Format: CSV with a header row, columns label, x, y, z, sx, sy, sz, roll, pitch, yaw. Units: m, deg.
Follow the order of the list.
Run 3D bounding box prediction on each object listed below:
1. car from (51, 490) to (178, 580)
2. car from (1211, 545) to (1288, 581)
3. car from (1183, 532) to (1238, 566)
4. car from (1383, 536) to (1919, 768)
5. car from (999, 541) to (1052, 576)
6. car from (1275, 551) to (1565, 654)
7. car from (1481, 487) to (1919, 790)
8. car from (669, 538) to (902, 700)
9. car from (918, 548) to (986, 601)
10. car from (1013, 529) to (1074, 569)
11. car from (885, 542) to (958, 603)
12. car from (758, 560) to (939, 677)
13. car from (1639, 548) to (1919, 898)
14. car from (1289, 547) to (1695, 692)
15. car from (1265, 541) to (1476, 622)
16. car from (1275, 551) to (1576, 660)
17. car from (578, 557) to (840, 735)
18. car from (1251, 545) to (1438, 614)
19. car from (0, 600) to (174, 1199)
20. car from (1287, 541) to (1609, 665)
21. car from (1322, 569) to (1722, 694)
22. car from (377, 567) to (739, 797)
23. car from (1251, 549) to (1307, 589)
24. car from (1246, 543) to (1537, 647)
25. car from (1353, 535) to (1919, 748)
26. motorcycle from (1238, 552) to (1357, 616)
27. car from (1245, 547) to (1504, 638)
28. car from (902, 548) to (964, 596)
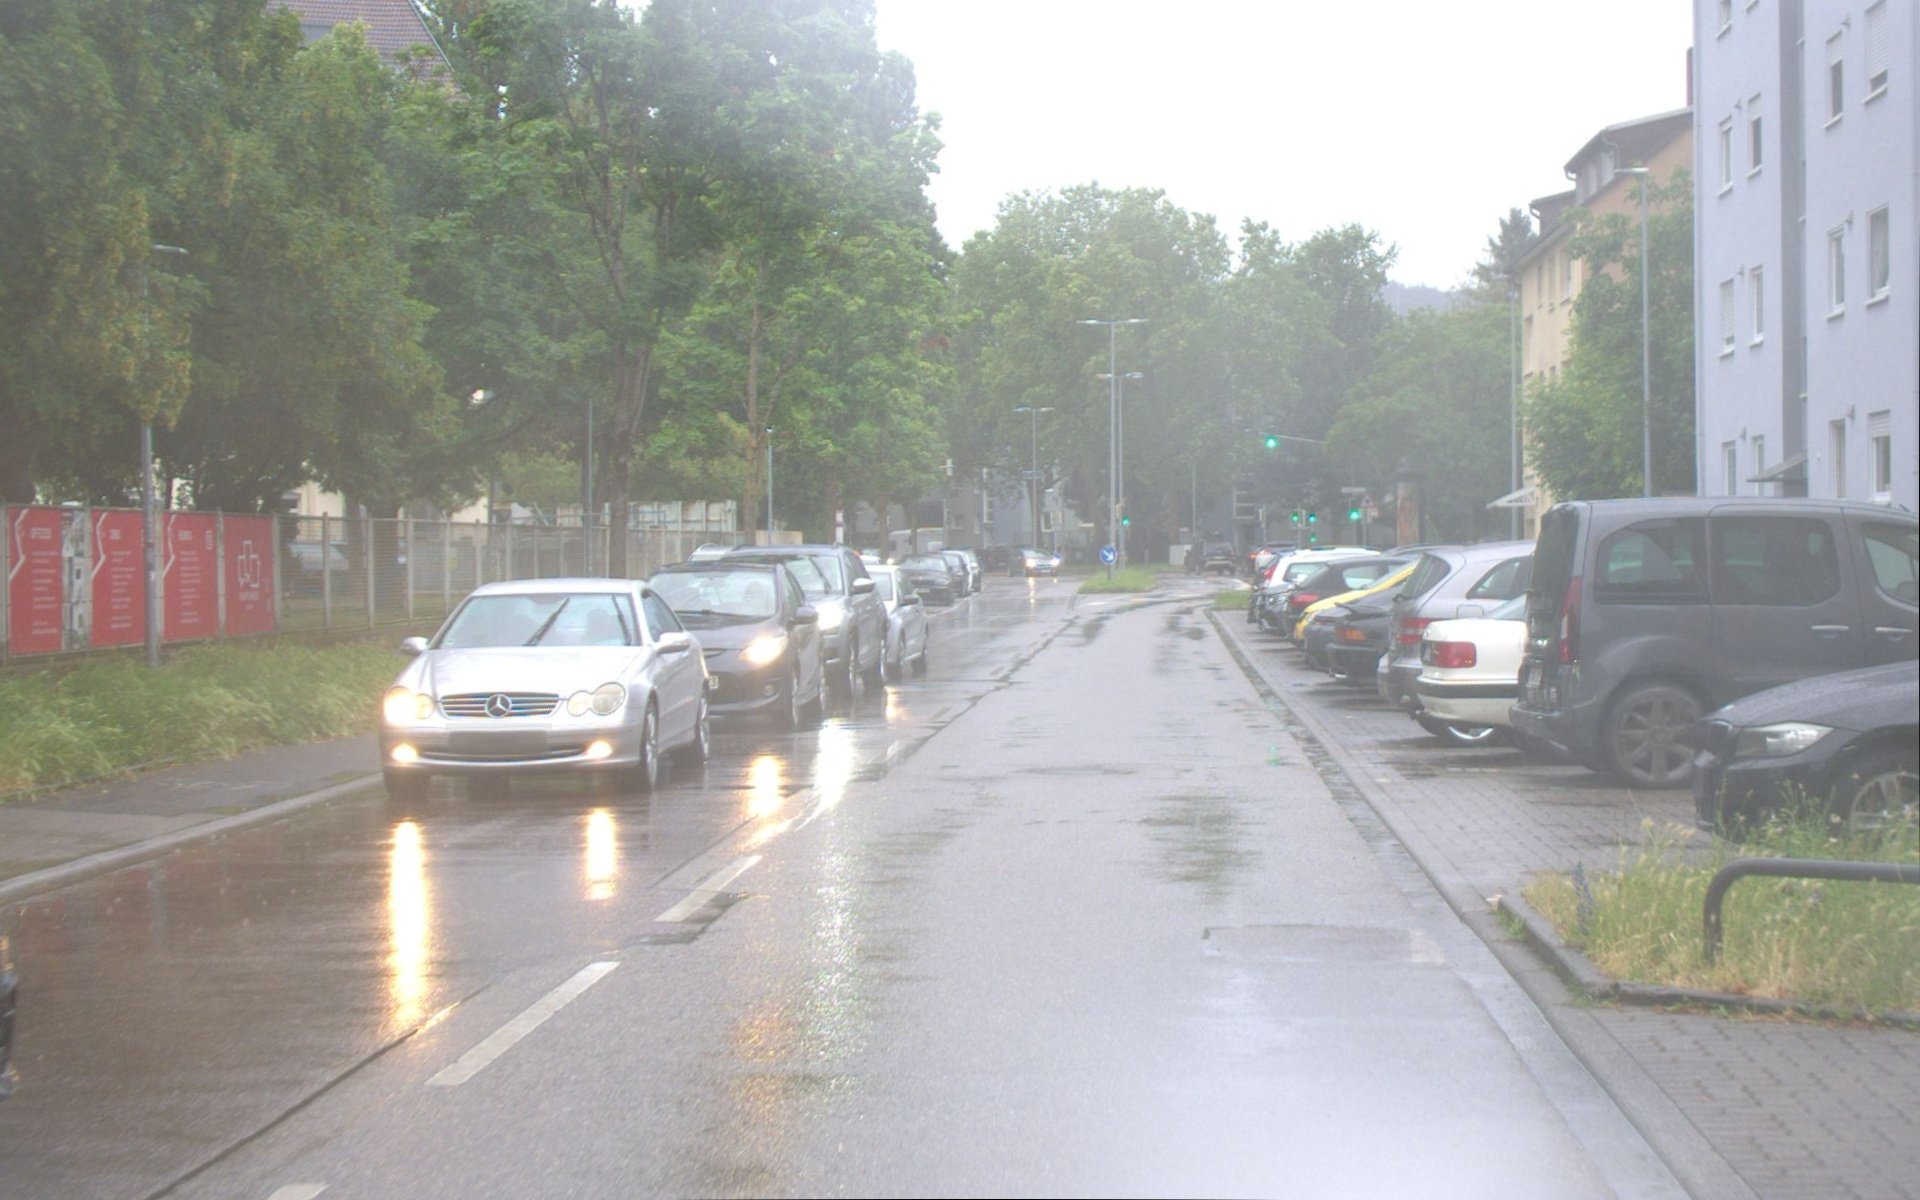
label,x,y,z,sx,sy,sz,roll,pitch,yaw
car,-20.398,-1.554,82.827,1.993,2.114,4.000,0,1,-29
car,12.274,-1.574,145.910,1.849,1.519,4.155,-1,1,-17
car,11.568,-2.365,159.120,1.849,1.519,4.001,0,1,-6
car,5.193,0.346,24.396,4.190,1.563,1.889,0,0,2
car,3.237,-2.045,169.974,1.740,1.683,4.001,0,1,-12
car,6.676,0.018,50.270,4.098,1.453,2.000,0,1,5
car,5.582,0.208,21.814,4.232,1.799,1.945,-1,1,0
car,-1.835,0.171,37.608,1.914,1.634,4.821,1,1,5
car,-0.242,-0.869,116.234,1.927,1.725,3.999,1,1,5
car,4.283,-2.624,176.980,1.993,2.007,4.001,-1,1,-16
car,-1.090,-0.780,95.129,1.775,1.524,4.001,1,2,-4
car,-1.365,0.204,43.632,1.673,1.378,4.251,0,1,7
car,5.469,0.491,15.365,4.533,1.465,1.983,-1,0,4
car,5.687,0.196,37.201,4.144,1.481,2.012,1,1,3
car,8.114,-0.373,68.192,3.987,1.547,1.905,1,1,2
car,6.408,0.061,47.676,3.987,1.437,1.781,1,1,3
car,-2.169,0.357,30.774,1.779,1.415,4.265,-1,1,3
car,8.425,-0.447,75.522,3.987,1.456,1.934,1,1,4
car,-4.595,0.742,9.253,4.922,1.449,2.082,0,1,36
car,6.354,0.025,45.064,3.987,1.547,1.853,1,1,2
car,5.601,0.300,34.662,3.855,1.203,1.955,0,1,5
car,-2.635,0.481,23.613,1.775,1.398,4.830,1,1,2
car,12.272,-1.197,132.432,1.849,1.519,4.000,0,1,1
car,6.654,-0.090,53.414,4.341,1.547,2.040,1,1,3
car,5.261,0.302,27.010,4.181,1.566,1.890,1,1,2
motorcycle,7.131,-0.337,72.723,2.398,1.319,0.920,1,0,-1
car,7.056,-0.147,58.361,4.271,1.449,1.983,1,2,9
car,-0.846,-0.897,109.944,1.929,1.479,4.000,-1,1,0
